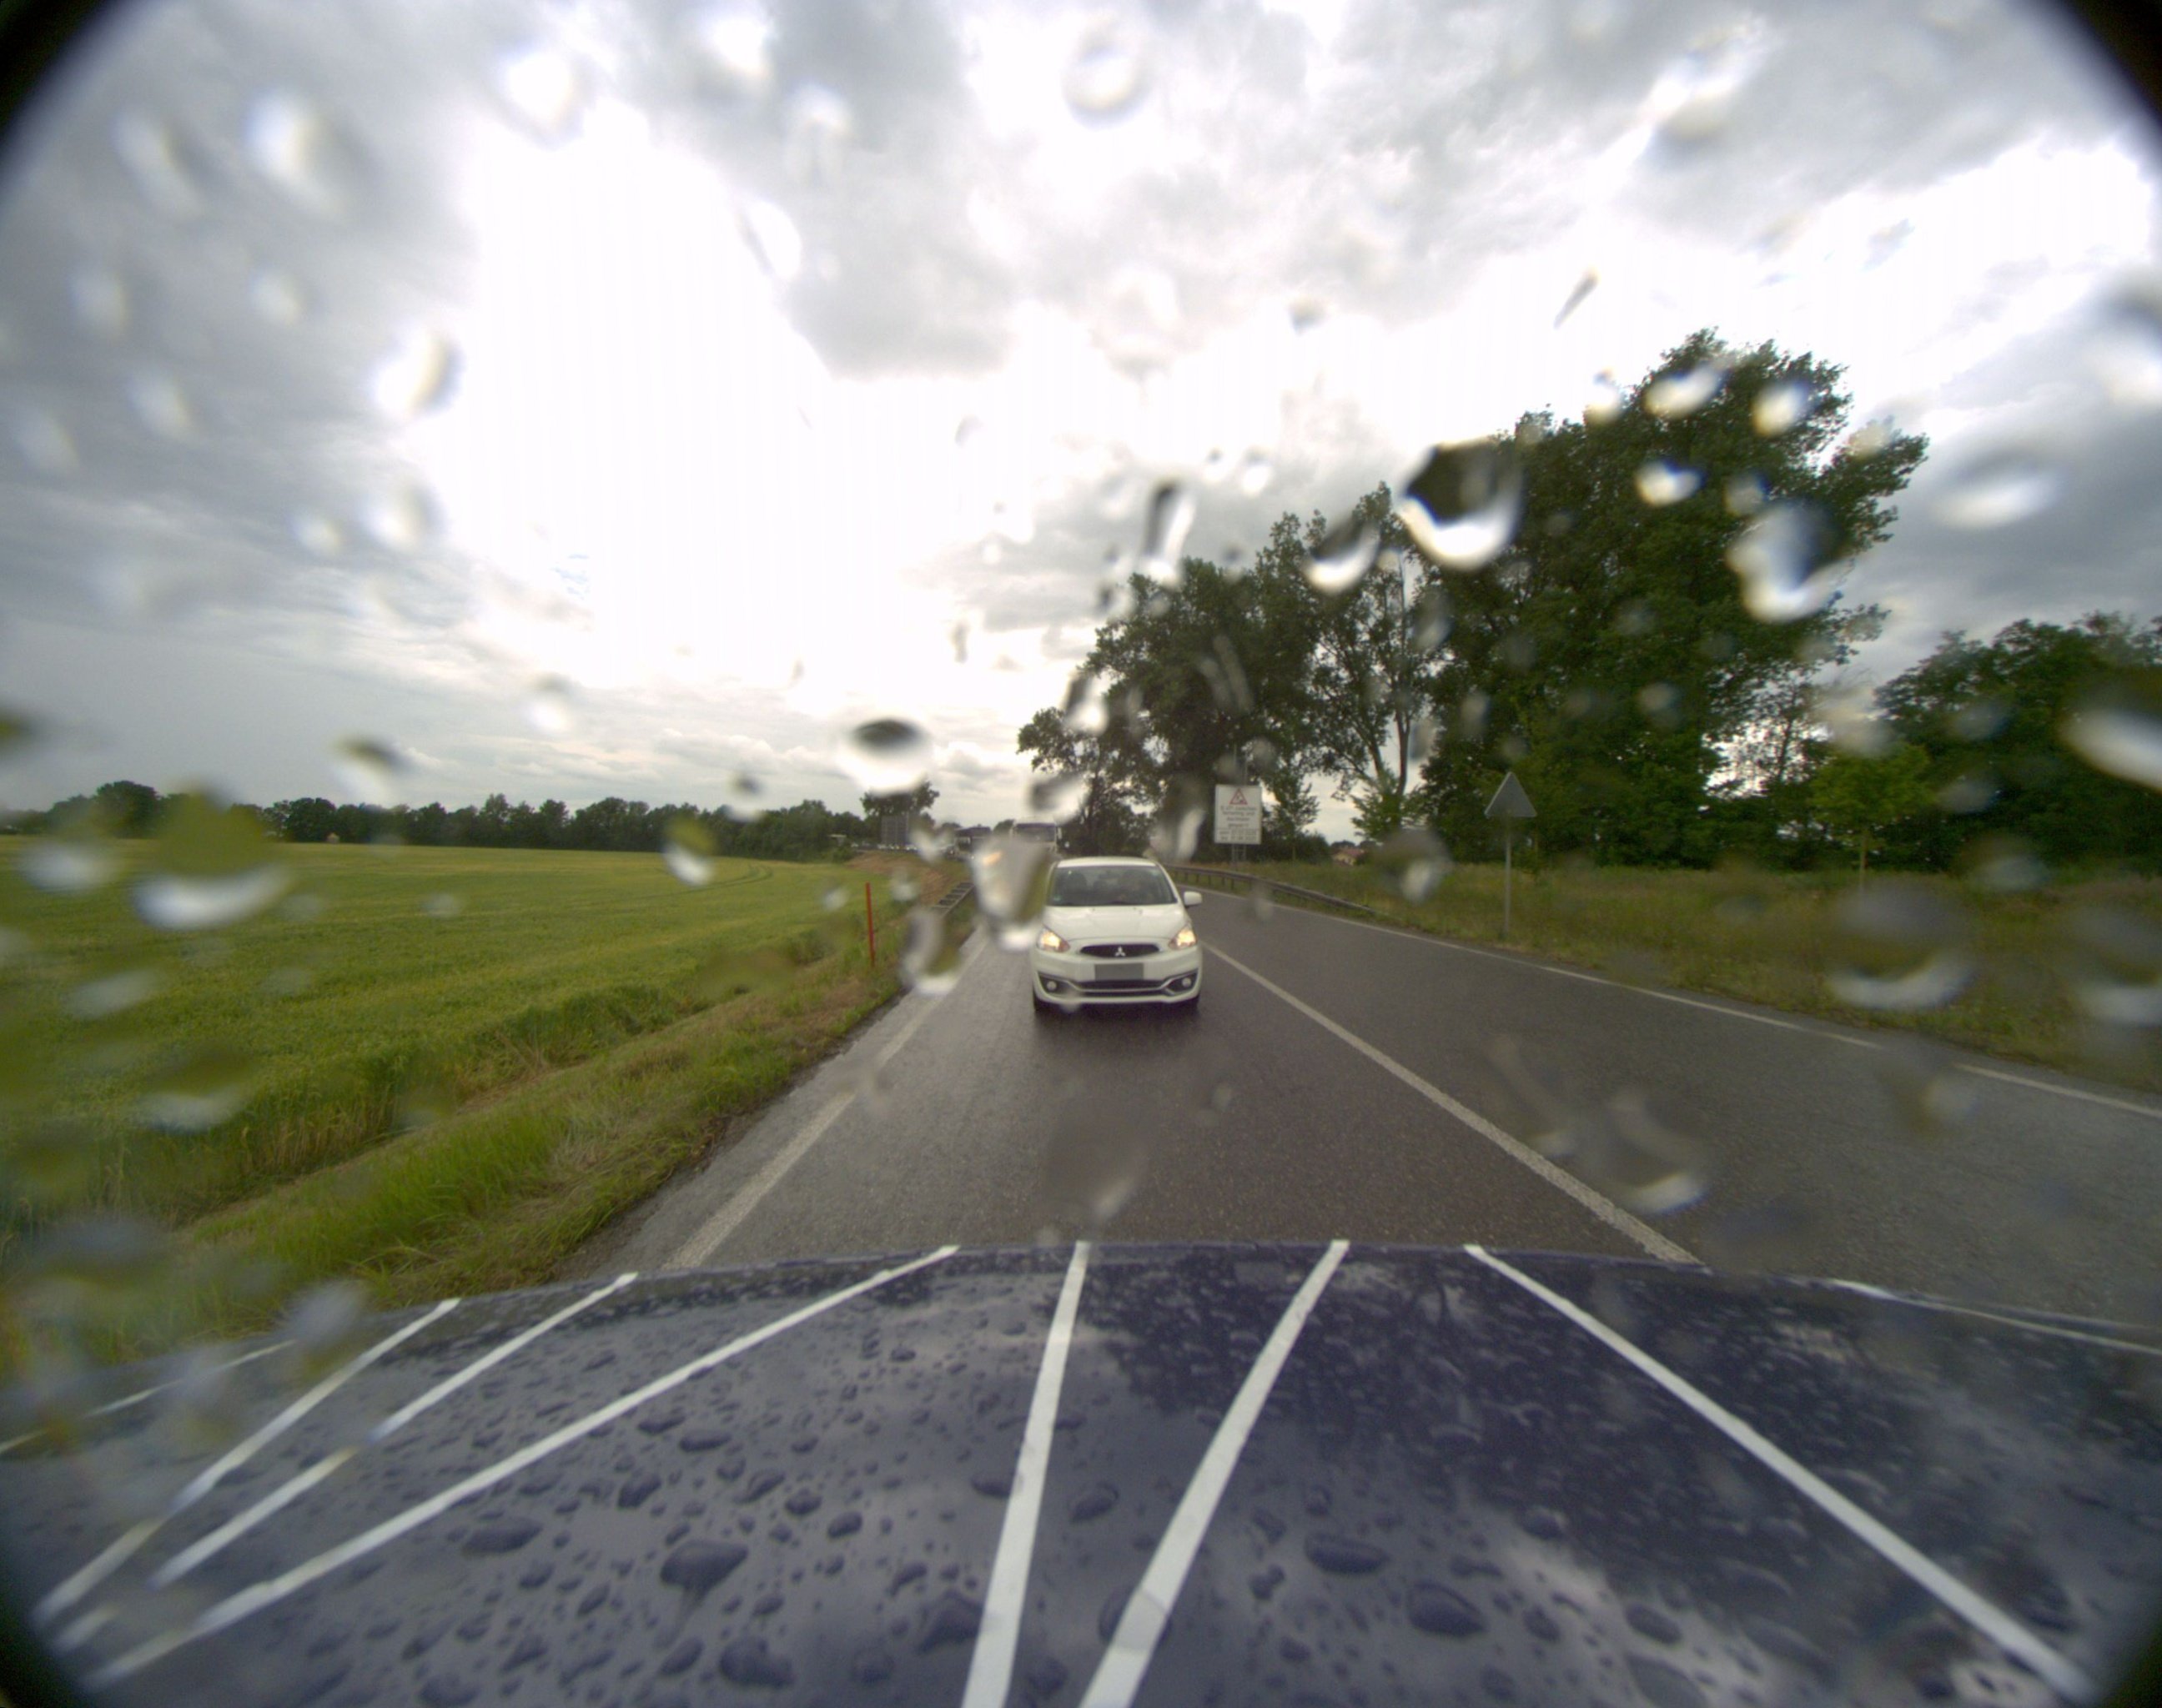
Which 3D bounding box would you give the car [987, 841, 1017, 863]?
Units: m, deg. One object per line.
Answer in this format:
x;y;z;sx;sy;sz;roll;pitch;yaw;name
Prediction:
-7.336;-0.222;70.152;2.044;1.832;5.328;-2;1;-14;car

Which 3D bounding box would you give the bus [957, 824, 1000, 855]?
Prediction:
-12.275;-1.765;89.476;2.967;3.294;14.813;-2;2;-15;bus

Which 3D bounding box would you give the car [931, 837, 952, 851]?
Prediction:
-21.725;-1.572;118.264;2.002;2.002;5.325;-2;2;-23;car

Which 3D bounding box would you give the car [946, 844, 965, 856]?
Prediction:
-17.127;-0.619;103.699;1.816;1.569;3.993;-2;2;-18;car

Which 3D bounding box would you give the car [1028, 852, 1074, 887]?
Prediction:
-1.435;0.669;34.904;1.782;1.380;4.325;-2;1;-6;car

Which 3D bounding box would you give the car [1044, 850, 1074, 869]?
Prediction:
-1.841;0.421;62.600;1.636;1.389;4.314;-2;1;-12;car

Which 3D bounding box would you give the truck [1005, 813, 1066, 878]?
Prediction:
-2.883;-0.548;46.125;2.986;3.590;6.074;-2;2;-9;truck

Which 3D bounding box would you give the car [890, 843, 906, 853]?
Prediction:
-38.143;-1.184;158.043;2.003;2.002;4.255;-3;2;-30;car

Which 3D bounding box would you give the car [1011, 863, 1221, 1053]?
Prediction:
0.282;0.864;8.158;1.653;1.461;4.030;-2;0;0;car

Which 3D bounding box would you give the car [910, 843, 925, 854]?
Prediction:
-31.107;-0.967;144.613;2.002;2.002;4.223;-2;2;-22;car

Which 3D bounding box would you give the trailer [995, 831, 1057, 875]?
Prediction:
-4.250;-0.208;54.589;2.986;2.618;15.665;-2;1;-9;trailer
